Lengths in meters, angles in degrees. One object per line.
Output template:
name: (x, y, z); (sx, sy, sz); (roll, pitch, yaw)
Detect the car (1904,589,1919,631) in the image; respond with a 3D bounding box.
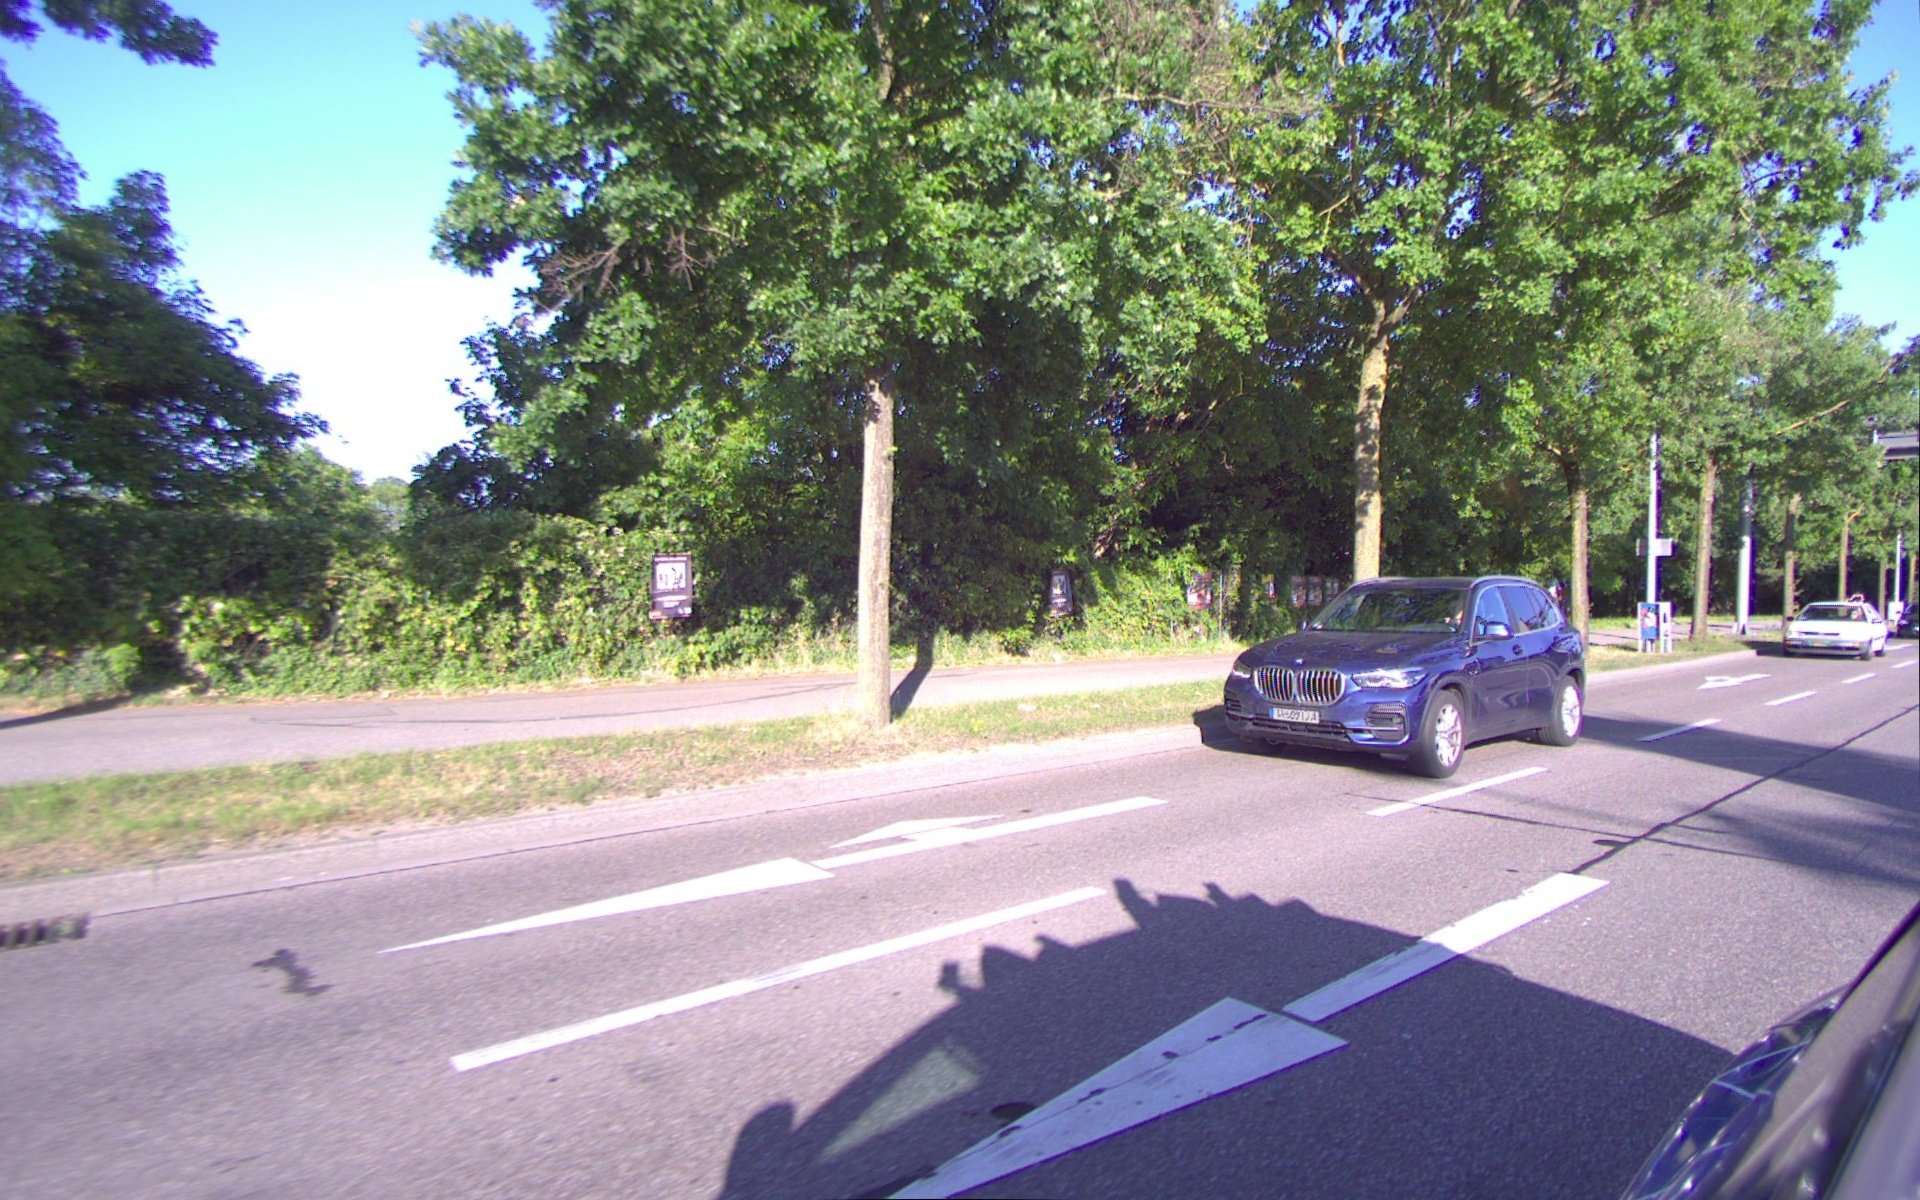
car: (36.926, 0.378, 37.999); (4.140, 1.518, 1.724); (0, -1, -41)

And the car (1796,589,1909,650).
car: (22.732, 0.501, 25.742); (3.966, 1.416, 1.614); (2, 0, -40)

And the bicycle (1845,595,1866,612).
bicycle: (54.196, 0.211, 61.232); (1.788, 0.986, 0.618); (0, 1, -38)

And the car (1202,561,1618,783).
car: (4.672, 0.543, 10.185); (4.614, 1.748, 1.959); (-1, 1, -39)

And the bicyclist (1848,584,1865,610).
bicyclist: (54.302, -0.176, 61.312); (0.832, 1.520, 0.615); (1, 0, -38)
